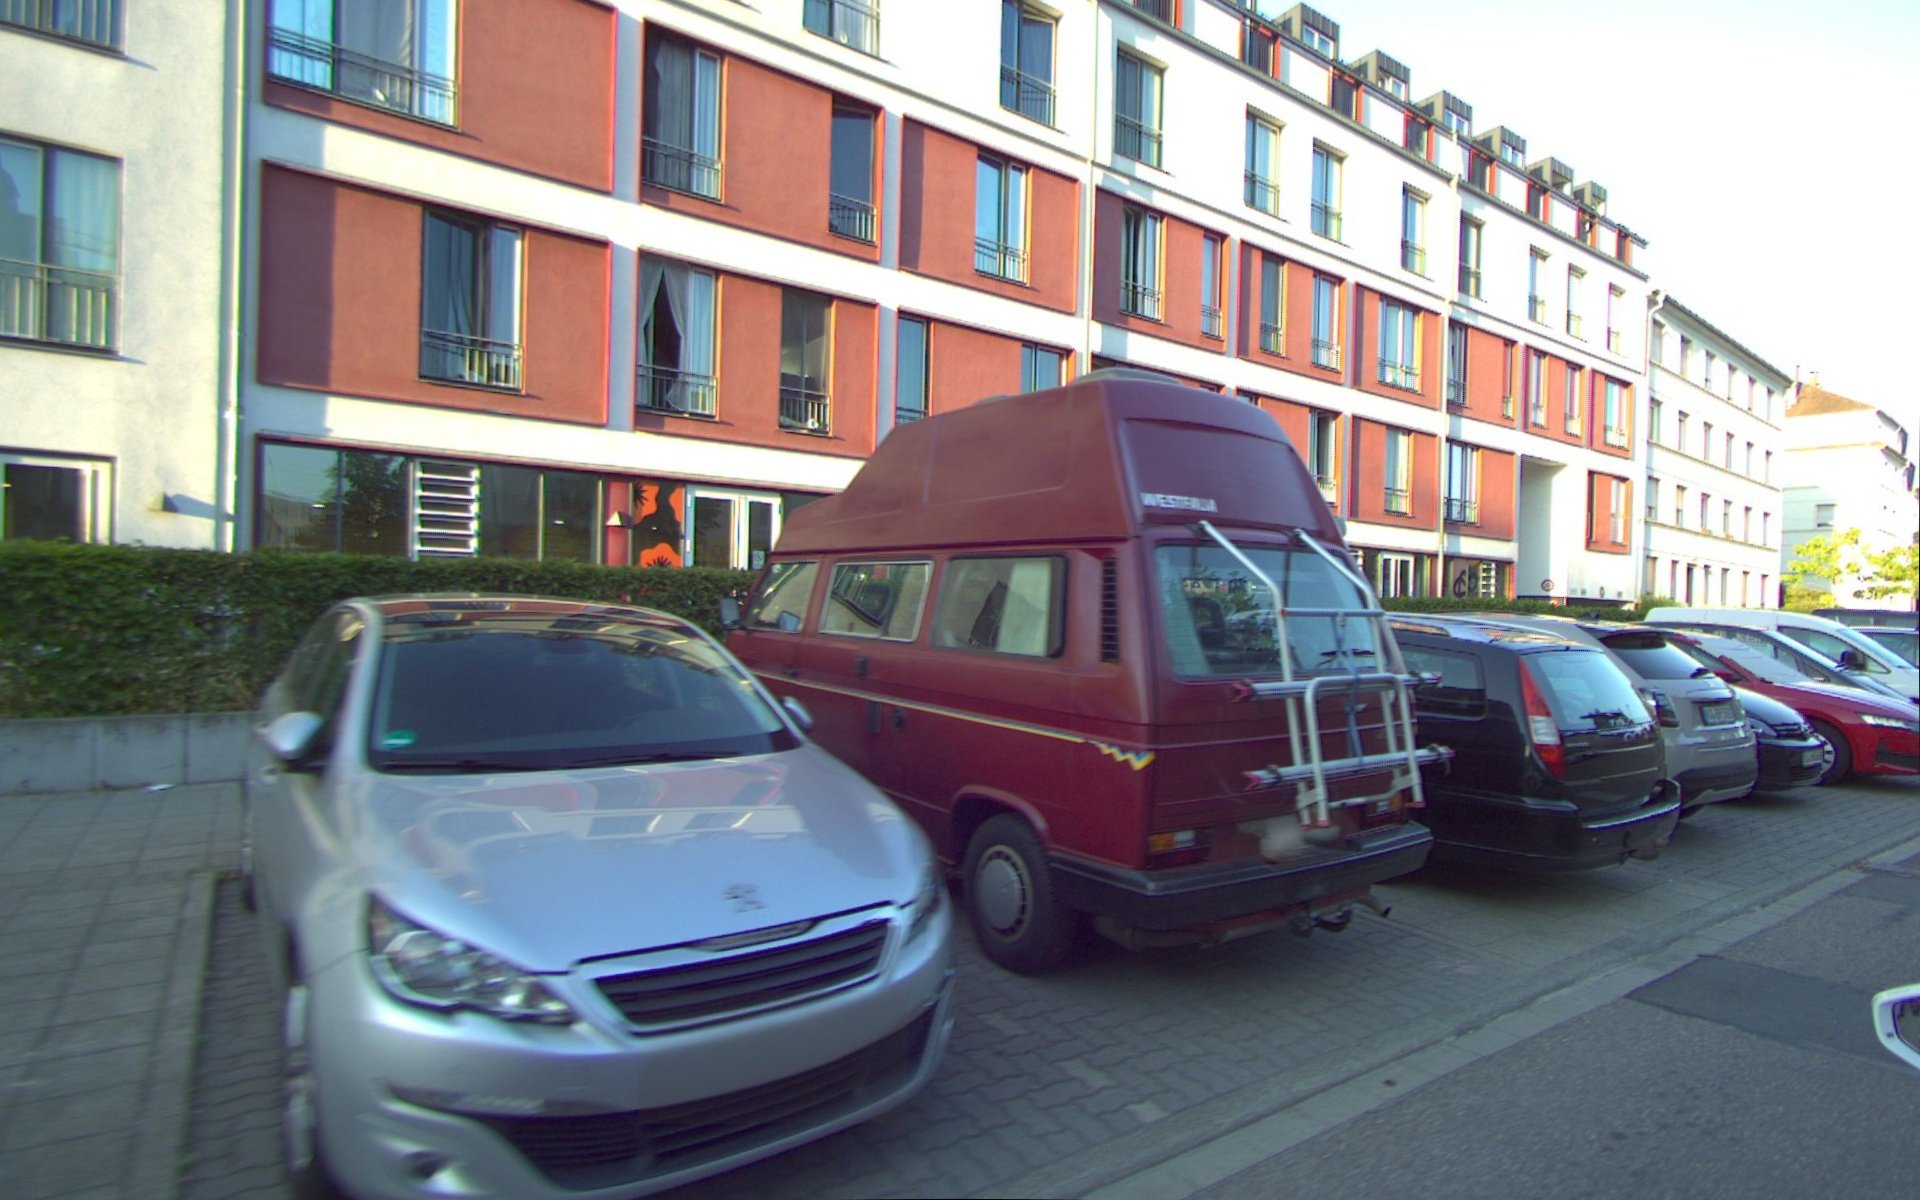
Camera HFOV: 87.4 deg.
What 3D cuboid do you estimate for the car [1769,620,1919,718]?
[{"bbox_3d":[18.129,1.333,18.838,1.869,1.674,4.228,2,1,-35],"label":"car"}]

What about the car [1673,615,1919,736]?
[{"bbox_3d":[14.540,1.190,16.452,1.980,1.682,4.228,2,1,-35],"label":"car"}]

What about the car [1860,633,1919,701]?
[{"bbox_3d":[23.850,1.651,23.166,1.980,1.525,4.228,2,1,-35],"label":"car"}]

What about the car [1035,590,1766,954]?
[{"bbox_3d":[2.558,0.793,6.794,1.774,1.558,4.178,2,1,-36],"label":"car"}]

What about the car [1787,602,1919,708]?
[{"bbox_3d":[20.140,1.177,20.385,1.887,2.048,4.818,2,1,-35],"label":"car"}]

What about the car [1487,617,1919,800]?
[{"bbox_3d":[8.551,1.054,11.367,1.831,1.510,4.182,2,1,-34],"label":"car"}]

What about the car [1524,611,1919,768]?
[{"bbox_3d":[10.440,1.074,13.839,1.981,1.637,4.178,2,1,-36],"label":"car"}]

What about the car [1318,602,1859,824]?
[{"bbox_3d":[6.053,0.916,10.147,1.981,1.596,4.178,2,1,-36],"label":"car"}]

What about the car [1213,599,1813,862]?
[{"bbox_3d":[4.355,0.857,8.668,1.820,1.558,4.190,2,1,-29],"label":"car"}]

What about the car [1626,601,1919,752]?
[{"bbox_3d":[12.665,1.046,14.861,1.980,1.860,4.228,2,1,-35],"label":"car"}]

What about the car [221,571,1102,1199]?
[{"bbox_3d":[-1.753,0.688,4.076,1.864,1.480,4.579,2,1,-38],"label":"car"}]

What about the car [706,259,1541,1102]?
[{"bbox_3d":[0.345,0.219,5.548,1.979,2.619,4.484,2,1,-33],"label":"car"}]
